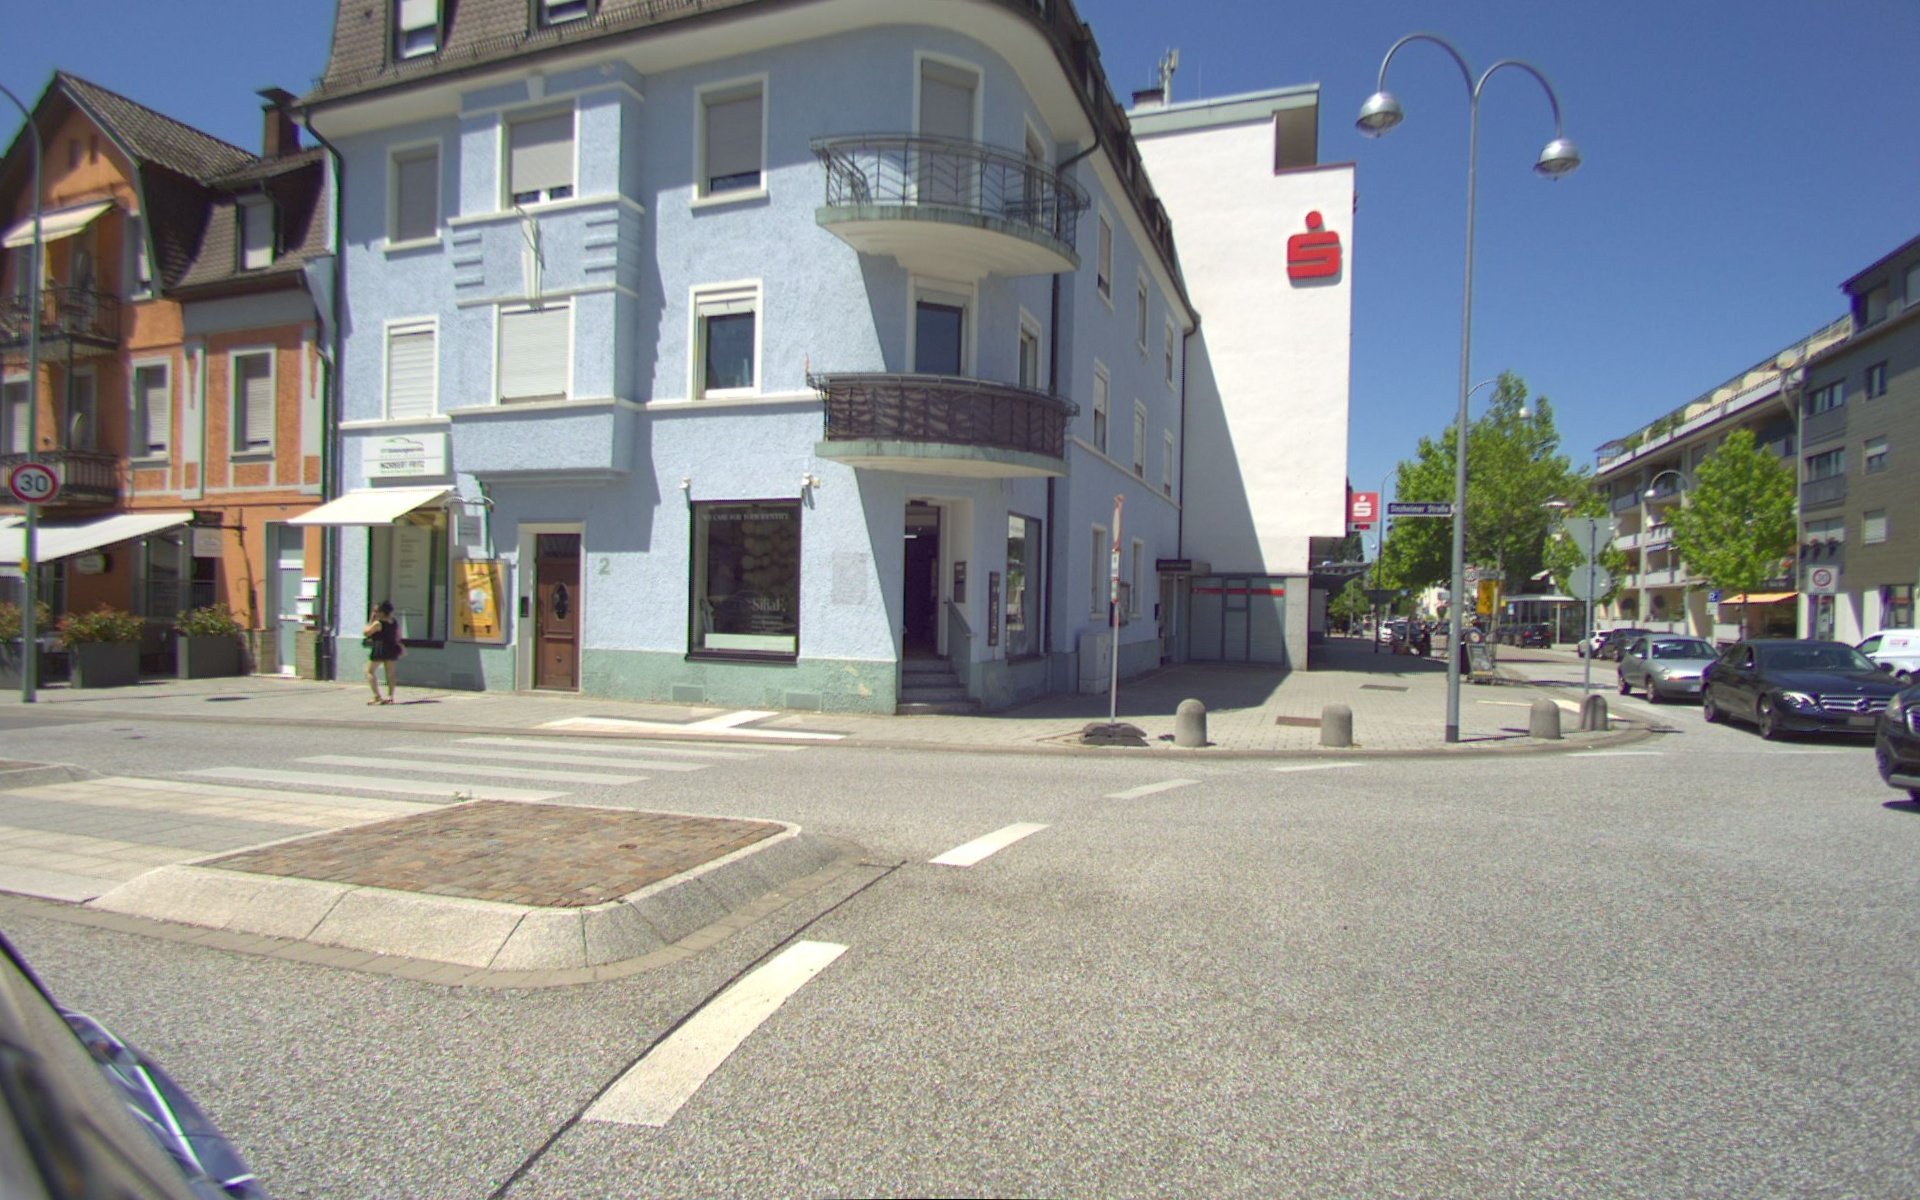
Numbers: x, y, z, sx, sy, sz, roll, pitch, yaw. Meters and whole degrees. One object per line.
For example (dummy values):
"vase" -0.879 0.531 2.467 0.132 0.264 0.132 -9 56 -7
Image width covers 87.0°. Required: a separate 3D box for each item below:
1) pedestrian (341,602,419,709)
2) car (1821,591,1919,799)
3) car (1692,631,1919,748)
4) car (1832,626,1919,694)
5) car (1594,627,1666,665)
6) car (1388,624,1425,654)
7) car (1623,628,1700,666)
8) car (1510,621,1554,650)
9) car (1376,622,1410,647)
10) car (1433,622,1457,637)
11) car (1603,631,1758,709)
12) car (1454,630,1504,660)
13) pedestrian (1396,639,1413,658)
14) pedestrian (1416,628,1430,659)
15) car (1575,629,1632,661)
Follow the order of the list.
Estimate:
"pedestrian" -8.603 0.802 15.024 0.797 1.536 0.624 0 1 20
"car" 9.353 0.764 7.613 4.103 1.574 2.002 1 -3 -4
"car" 13.286 1.258 15.720 1.986 1.489 4.674 -1 -1 22
"car" 26.213 1.606 27.682 1.733 1.737 3.898 -1 -1 9
"car" 32.051 2.163 48.549 1.756 1.719 4.674 -1 -1 20
"car" 29.545 2.559 67.093 1.720 1.753 4.366 4 1 18
"car" 30.283 1.996 43.813 1.735 1.562 3.917 -1 -2 20
"car" 39.920 2.467 70.721 1.986 1.812 4.536 -1 0 21
"car" 30.944 2.437 72.422 1.815 1.631 4.366 2 0 18
"car" 54.877 3.329 114.488 1.967 1.461 4.321 -1 0 20
"car" 15.504 1.438 22.005 1.845 1.489 3.880 -1 -1 22
"car" 30.814 2.627 60.219 1.985 1.605 4.966 1 -1 20
"pedestrian" 21.159 2.307 48.169 0.664 0.865 0.725 0 -5 29
"pedestrian" 21.438 2.005 46.847 0.567 1.382 0.660 0 -2 29
"car" 33.985 2.341 53.533 1.715 1.595 4.195 -1 -1 21
